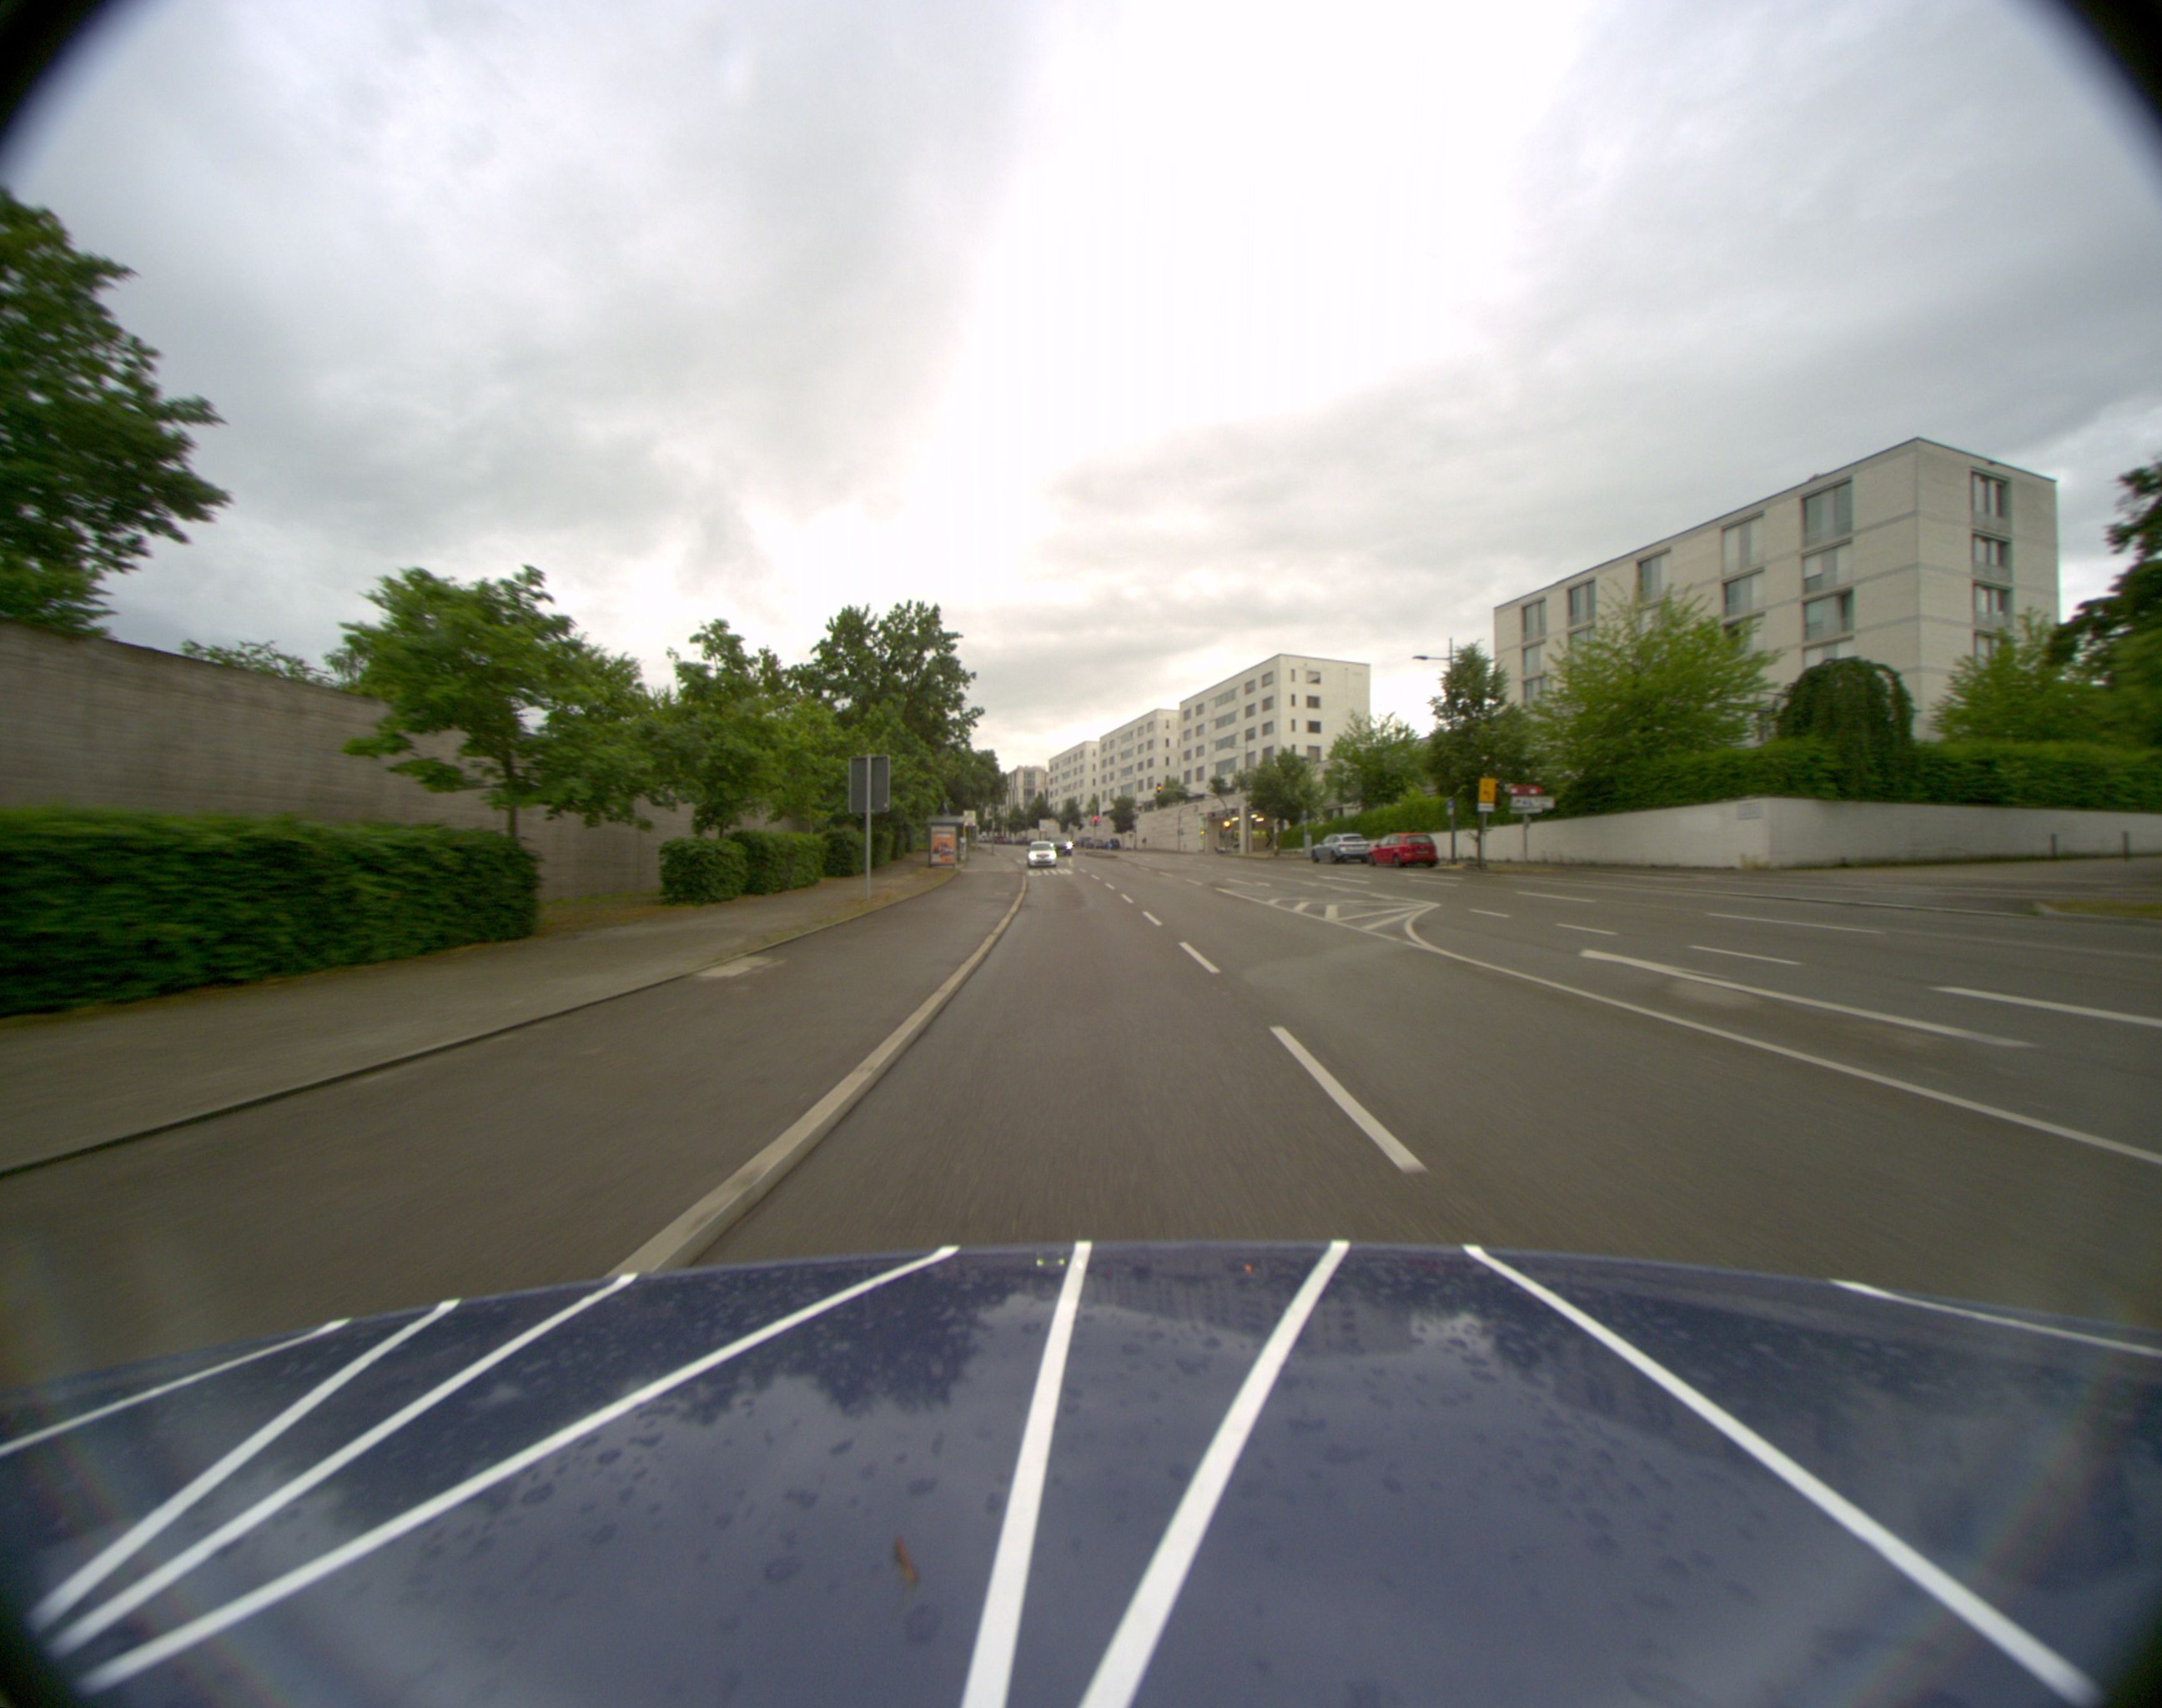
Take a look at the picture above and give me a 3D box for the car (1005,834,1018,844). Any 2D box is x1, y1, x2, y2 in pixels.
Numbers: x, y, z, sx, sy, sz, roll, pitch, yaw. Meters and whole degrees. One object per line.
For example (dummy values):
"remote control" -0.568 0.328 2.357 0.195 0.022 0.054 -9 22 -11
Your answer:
"car" -14.892 -3.244 163.421 1.927 2.002 4.379 -1 0 -18

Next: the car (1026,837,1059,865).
"car" -2.366 -0.142 47.571 1.927 1.652 4.001 -1 -1 0

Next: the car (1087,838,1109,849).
"car" 2.479 -1.554 111.845 1.865 1.470 3.992 0 1 -21

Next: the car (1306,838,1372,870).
"car" 14.308 -0.048 42.428 1.769 1.644 4.881 -2 1 -3

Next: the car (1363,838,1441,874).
"car" 14.835 0.028 35.371 1.669 1.578 4.214 0 1 -3

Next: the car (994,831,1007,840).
"car" -16.979 -3.874 160.025 1.967 1.829 4.441 0 1 -17

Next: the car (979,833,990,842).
"car" -23.941 -4.061 187.625 1.927 2.002 4.379 -1 0 -18

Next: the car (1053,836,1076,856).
"car" -1.419 -0.694 65.079 1.830 1.584 3.999 -2 0 -2

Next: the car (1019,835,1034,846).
"car" -10.831 -2.618 150.818 1.927 2.002 4.379 -1 0 -18

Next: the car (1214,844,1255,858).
"car" 18.438 -0.395 91.133 4.351 1.642 1.996 0 1 -21

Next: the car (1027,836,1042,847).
"car" -8.919 -2.400 145.242 1.927 2.002 4.379 -1 0 -18

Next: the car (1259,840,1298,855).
"car" 23.179 -0.766 89.218 4.003 1.762 1.797 0 1 -18

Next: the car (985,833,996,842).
"car" -21.603 -3.974 181.111 1.927 2.002 4.379 -1 0 -18

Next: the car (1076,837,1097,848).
"car" 0.842 -1.713 116.009 1.792 1.623 3.992 0 1 -21

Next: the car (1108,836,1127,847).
"car" 5.074 -1.720 106.075 1.683 1.450 2.690 0 1 -21
